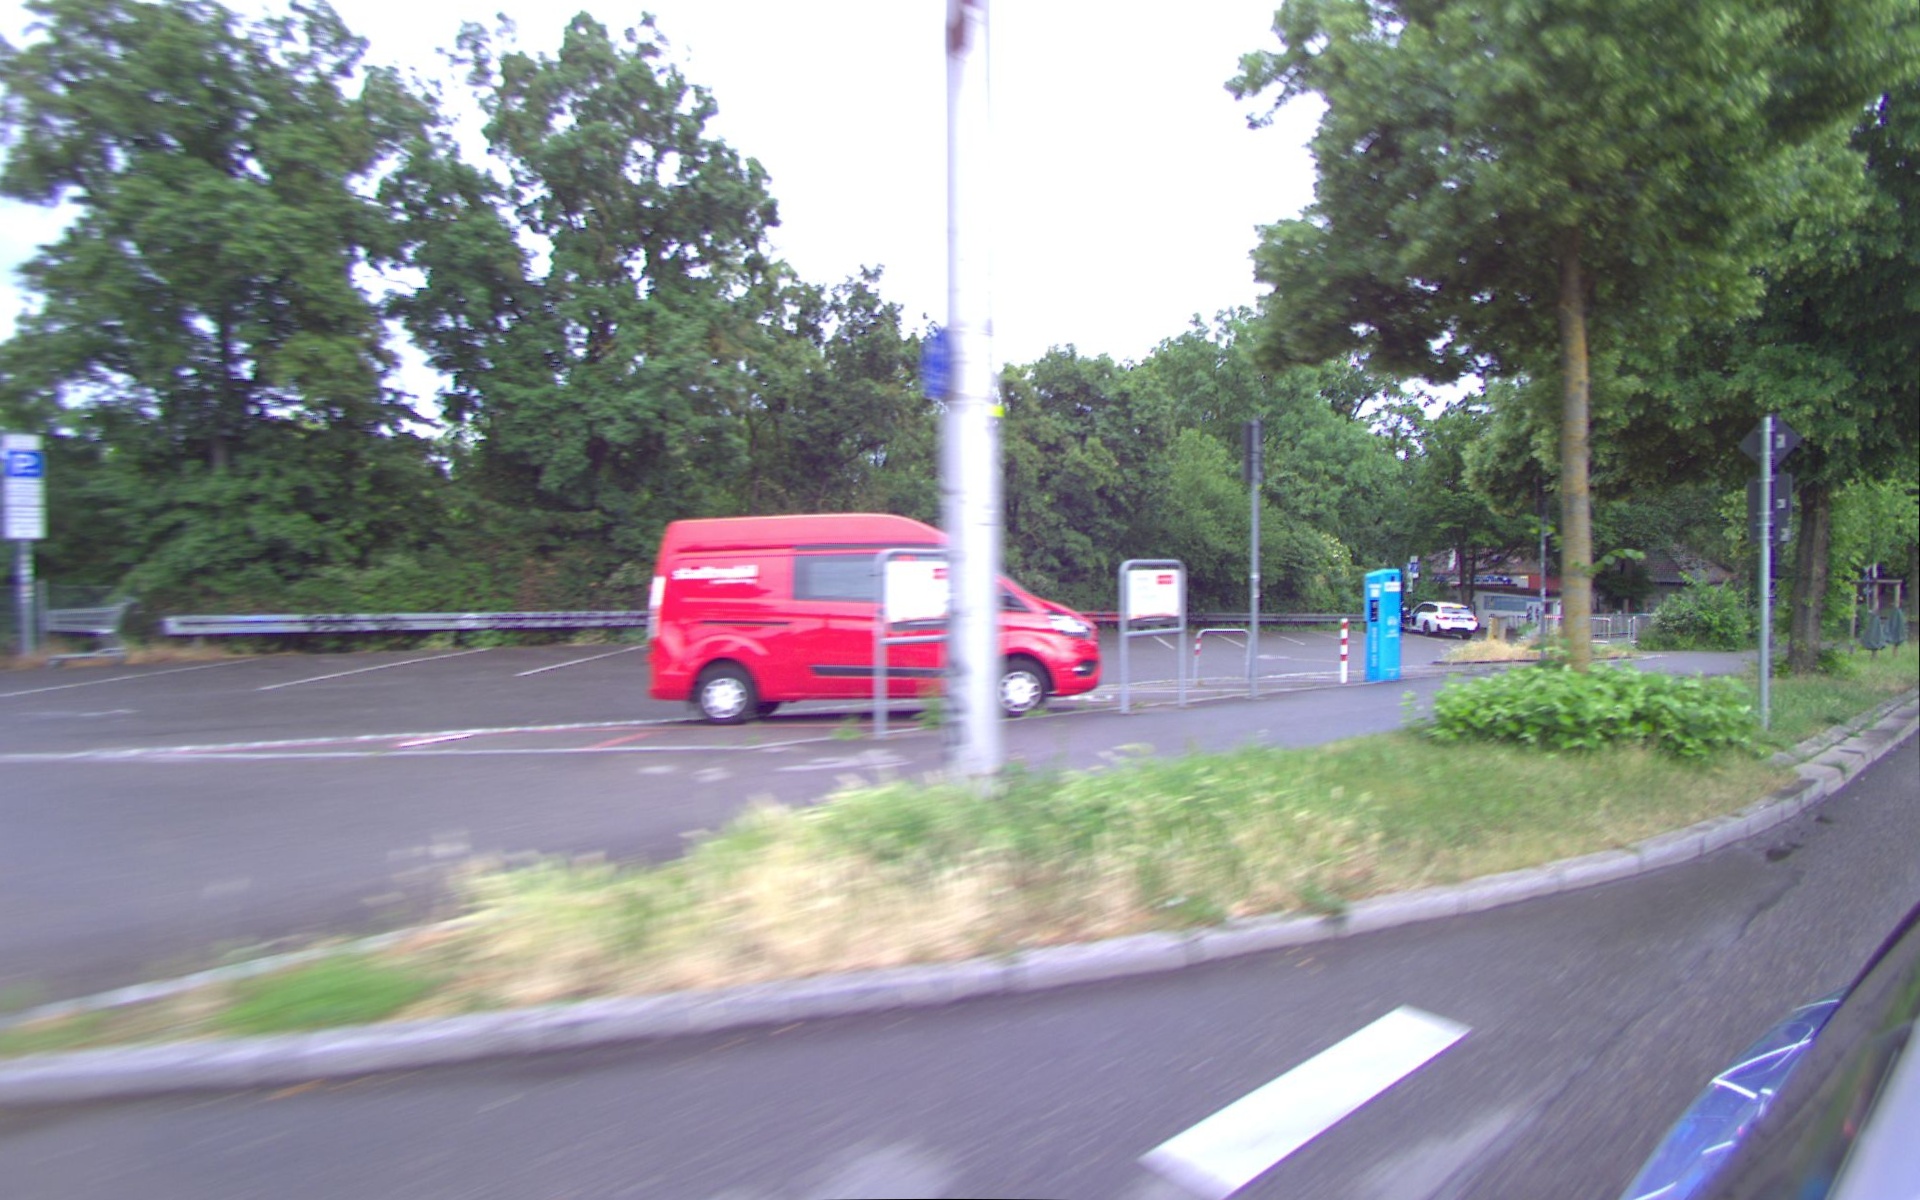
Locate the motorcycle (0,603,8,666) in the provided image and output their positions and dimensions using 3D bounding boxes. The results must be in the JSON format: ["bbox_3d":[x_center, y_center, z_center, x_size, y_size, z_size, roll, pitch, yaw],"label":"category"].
[{"bbox_3d":[-14.795,0.474,14.430,0.464,1.228,2.027,-4,4,-2],"label":"motorcycle"}]

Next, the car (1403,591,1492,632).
[{"bbox_3d":[20.651,0.455,43.111,1.966,1.599,4.642,1,1,7],"label":"car"}]

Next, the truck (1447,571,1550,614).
[{"bbox_3d":[37.716,-0.520,70.890,6.468,2.903,2.064,1,0,-11],"label":"truck"}]

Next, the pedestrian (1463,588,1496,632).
[{"bbox_3d":[22.185,0.410,43.242,0.881,1.792,0.942,2,2,6],"label":"pedestrian"}]

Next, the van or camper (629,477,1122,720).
[{"bbox_3d":[-0.929,0.028,11.973,5.292,2.438,2.039,-2,-3,2],"label":"van or camper"}]
